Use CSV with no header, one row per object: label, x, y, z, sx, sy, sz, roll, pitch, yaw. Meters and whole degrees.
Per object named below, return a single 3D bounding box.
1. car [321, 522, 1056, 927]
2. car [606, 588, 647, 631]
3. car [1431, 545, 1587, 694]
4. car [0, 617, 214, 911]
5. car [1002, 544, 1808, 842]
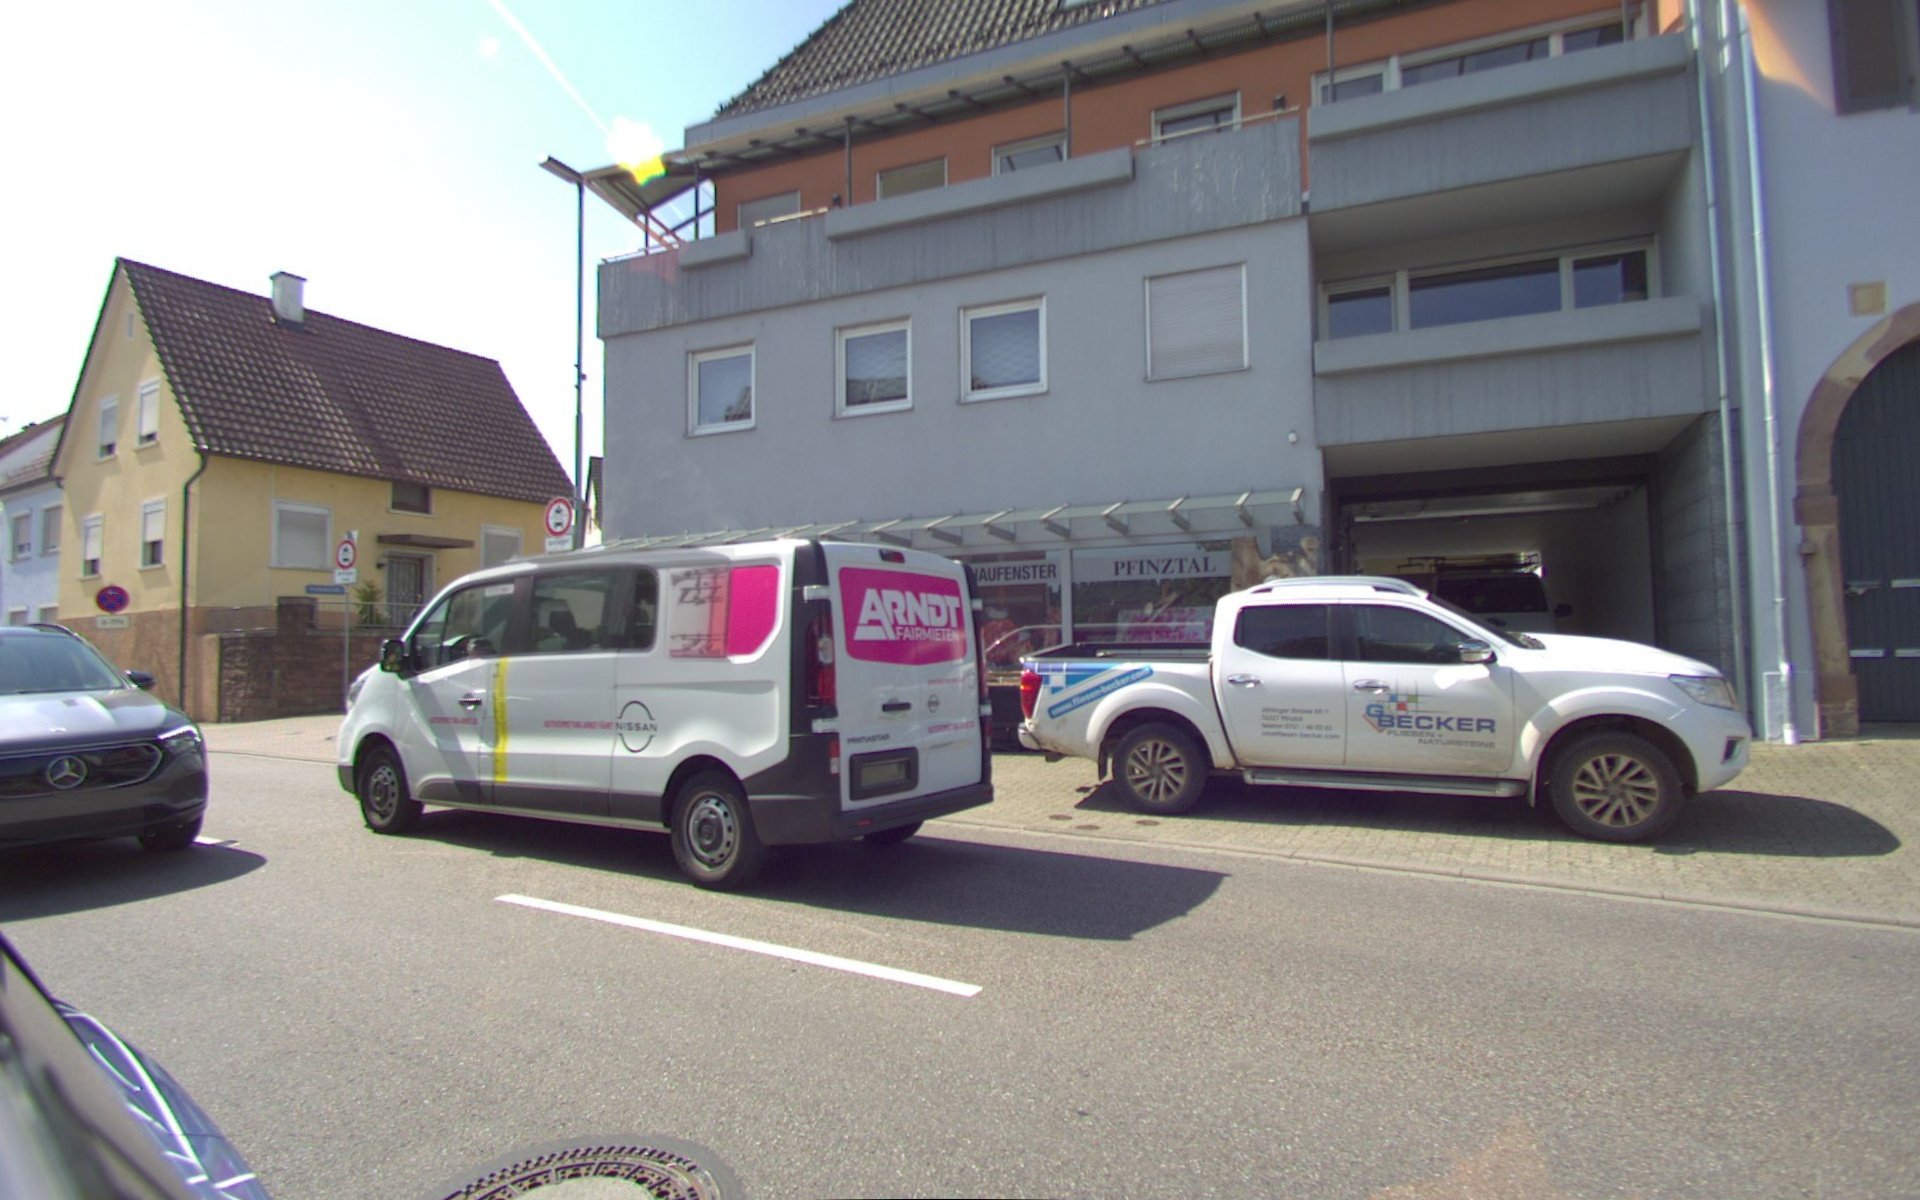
car,-2.123,0.730,7.158,5.297,1.948,1.953,-2,-4,33
car,-14.115,0.436,42.723,1.546,1.682,3.780,-1,-1,-19
car,8.630,0.308,16.091,1.867,2.029,4.085,-2,-1,27
car,-6.897,0.987,6.830,4.279,1.585,1.718,-3,-2,35
car,3.127,0.590,8.085,5.253,1.811,1.797,-1,3,24
